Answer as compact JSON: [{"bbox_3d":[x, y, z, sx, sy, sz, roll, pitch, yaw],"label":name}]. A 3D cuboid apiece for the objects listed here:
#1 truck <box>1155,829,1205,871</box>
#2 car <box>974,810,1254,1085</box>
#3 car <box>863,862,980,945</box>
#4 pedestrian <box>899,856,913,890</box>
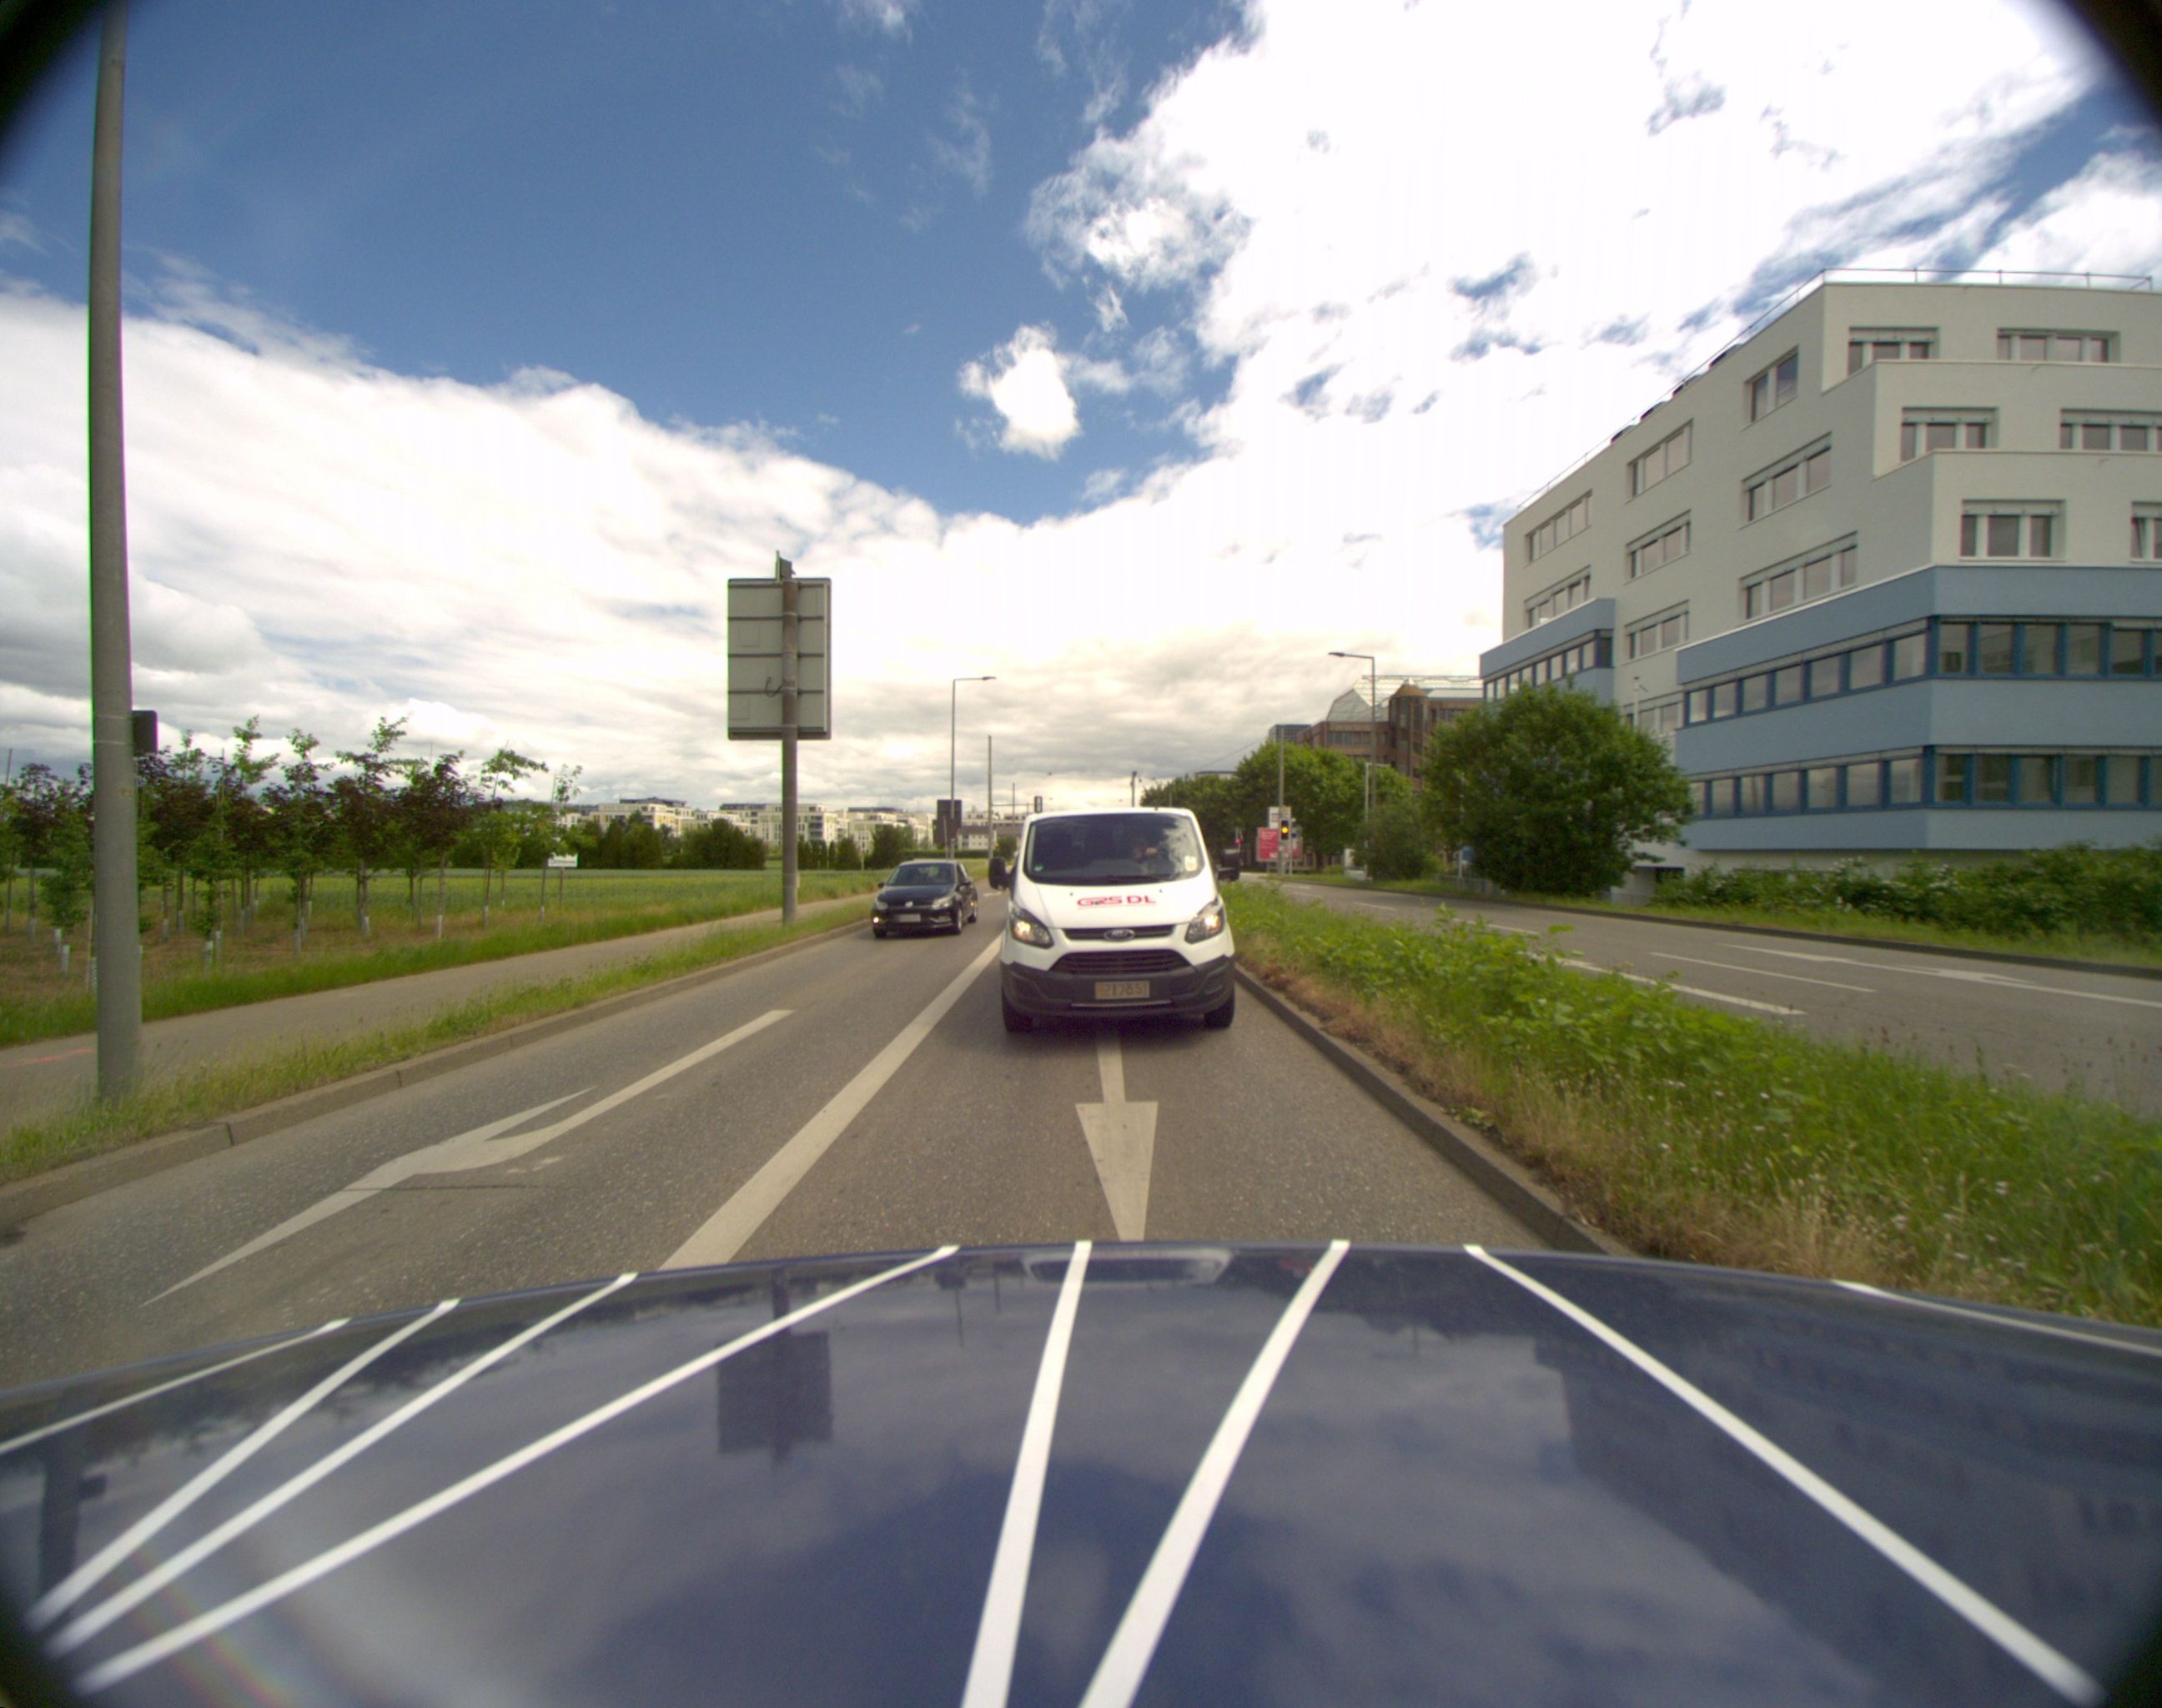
[{"bbox_3d":[8.795,-0.374,68.836,3.176,3.498,9.524,0,1,0],"label":"truck"},{"bbox_3d":[0.268,0.666,8.009,1.968,1.938,5.054,-1,0,1],"label":"car"},{"bbox_3d":[-3.145,0.925,15.686,1.683,1.410,3.739,-1,1,-1],"label":"car"},{"bbox_3d":[-8.853,0.969,38.528,0.492,1.693,0.626,-2,1,-1],"label":"pedestrian"}]
